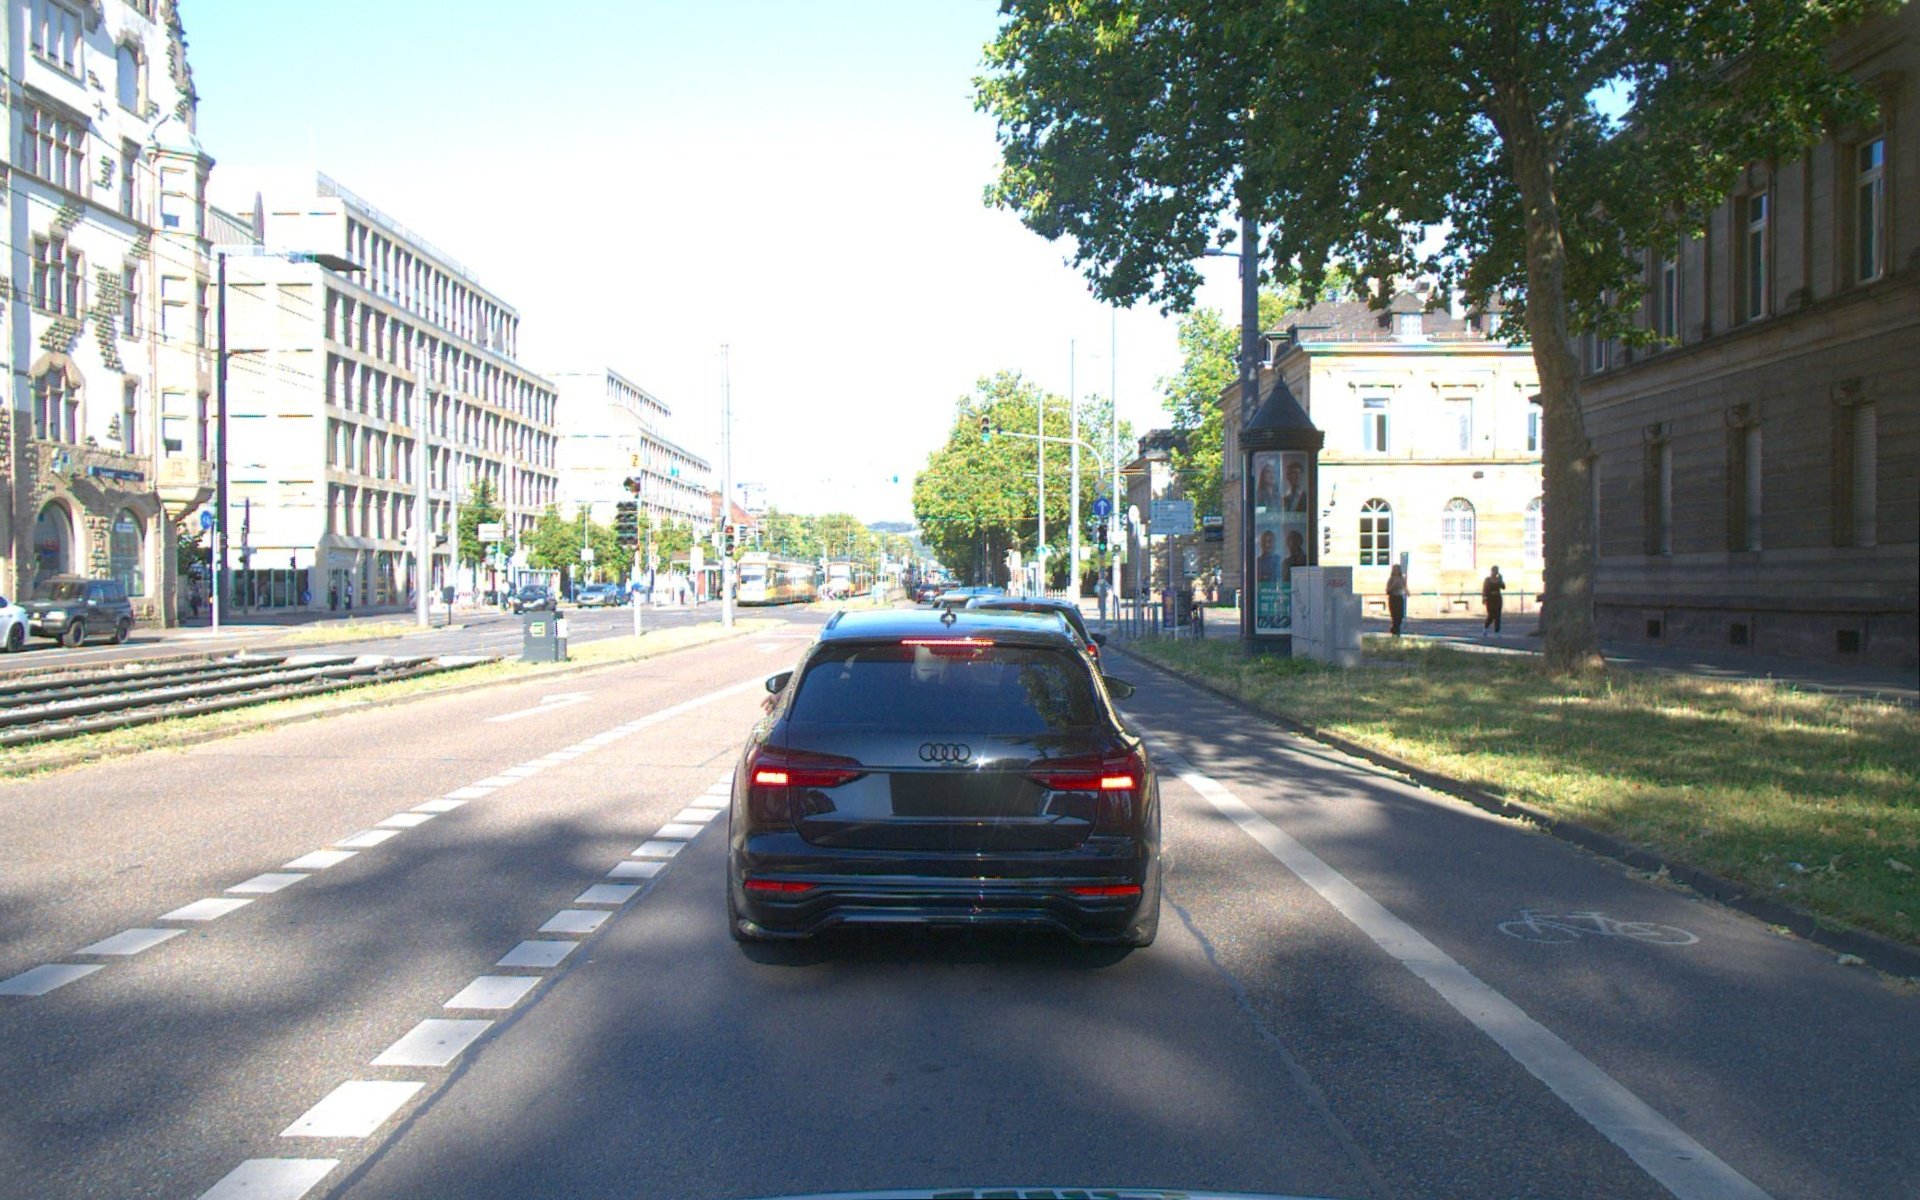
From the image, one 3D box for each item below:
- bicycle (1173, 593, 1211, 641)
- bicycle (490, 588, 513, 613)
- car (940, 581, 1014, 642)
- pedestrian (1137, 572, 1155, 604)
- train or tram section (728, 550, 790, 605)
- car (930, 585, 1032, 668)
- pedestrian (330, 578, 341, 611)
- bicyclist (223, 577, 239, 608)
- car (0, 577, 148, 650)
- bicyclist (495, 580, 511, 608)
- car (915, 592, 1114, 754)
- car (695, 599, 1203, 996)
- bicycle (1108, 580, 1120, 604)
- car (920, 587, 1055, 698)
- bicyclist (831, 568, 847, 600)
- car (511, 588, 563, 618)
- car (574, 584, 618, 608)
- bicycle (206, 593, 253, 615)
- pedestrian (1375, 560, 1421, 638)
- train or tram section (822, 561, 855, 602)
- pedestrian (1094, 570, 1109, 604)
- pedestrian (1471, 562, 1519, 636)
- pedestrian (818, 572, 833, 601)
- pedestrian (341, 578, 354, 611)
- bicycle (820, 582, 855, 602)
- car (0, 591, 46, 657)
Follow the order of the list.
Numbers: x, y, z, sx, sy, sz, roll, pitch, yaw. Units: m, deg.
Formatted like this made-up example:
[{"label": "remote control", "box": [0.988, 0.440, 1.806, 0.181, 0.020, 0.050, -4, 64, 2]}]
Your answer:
[{"label": "bicycle", "box": [5.518, 0.394, 39.455, 0.529, 1.080, 1.770, -1, 1, -4]}, {"label": "bicycle", "box": [-25.981, 0.010, 93.754, 0.671, 1.406, 1.947, -1, 0, 1]}, {"label": "car", "box": [0.431, 0.294, 43.833, 1.864, 1.512, 4.144, 1, 0, 0]}, {"label": "pedestrian", "box": [11.079, -0.727, 98.498, 0.959, 1.898, 0.826, -1, 0, -1]}, {"label": "train or tram section", "box": [-13.757, -1.550, 114.085, 2.755, 3.550, 13.203, -1, 1, 0]}, {"label": "car", "box": [0.389, 0.493, 32.720, 1.864, 1.512, 4.144, 1, 0, 0]}, {"label": "pedestrian", "box": [-35.163, -0.310, 93.095, 0.468, 1.876, 0.437, -1, 0, -38]}, {"label": "bicyclist", "box": [-41.295, -0.423, 93.644, 0.628, 1.715, 0.577, -1, 0, -1]}, {"label": "car", "box": [-22.526, 0.293, 42.150, 1.682, 1.704, 4.215, 2, 1, -2]}, {"label": "bicyclist", "box": [-25.917, -0.341, 93.806, 0.671, 1.590, 0.785, -1, 0, 1]}, {"label": "car", "box": [0.516, 0.688, 17.744, 1.864, 1.512, 4.144, 1, 0, 0]}, {"label": "car", "box": [-0.039, 0.731, 8.196, 1.864, 1.446, 4.144, 1, 0, 0]}, {"label": "bicycle", "box": [7.626, -0.401, 82.105, 0.426, 1.165, 1.340, -1, 1, -2]}, {"label": "car", "box": [0.383, 0.588, 25.023, 1.864, 1.512, 4.144, 1, 0, 0]}, {"label": "bicyclist", "box": [-7.220, -0.962, 98.545, 0.746, 1.850, 0.759, -1, 1, -23]}, {"label": "car", "box": [-21.608, 0.139, 84.578, 1.783, 1.482, 4.163, -1, 1, -3]}, {"label": "car", "box": [-23.094, -0.258, 105.142, 1.782, 1.482, 4.540, -1, 1, 0]}, {"label": "bicycle", "box": [-41.348, 0.213, 93.636, 2.333, 1.236, 0.577, -1, 0, -1]}, {"label": "pedestrian", "box": [9.984, -0.026, 37.735, 0.753, 1.739, 1.042, -1, 0, 1]}, {"label": "train or tram section", "box": [-10.985, -1.694, 150.808, 2.556, 3.511, 11.128, -1, 1, -2]}, {"label": "pedestrian", "box": [7.012, -0.632, 82.070, 0.668, 1.689, 0.758, -1, 0, -2]}, {"label": "pedestrian", "box": [12.099, -0.032, 37.446, 0.753, 1.634, 0.986, -1, 0, 1]}, {"label": "pedestrian", "box": [-8.111, -0.830, 99.910, 0.729, 1.772, 0.660, -1, 0, -20]}, {"label": "pedestrian", "box": [-34.541, -0.315, 93.286, 0.527, 1.876, 0.437, -1, 0, -39]}, {"label": "bicycle", "box": [-7.303, -0.484, 98.513, 1.978, 1.127, 0.759, -1, 1, -23]}, {"label": "car", "box": [-22.419, 0.542, 36.793, 1.682, 1.448, 4.654, 2, 1, -2]}]
